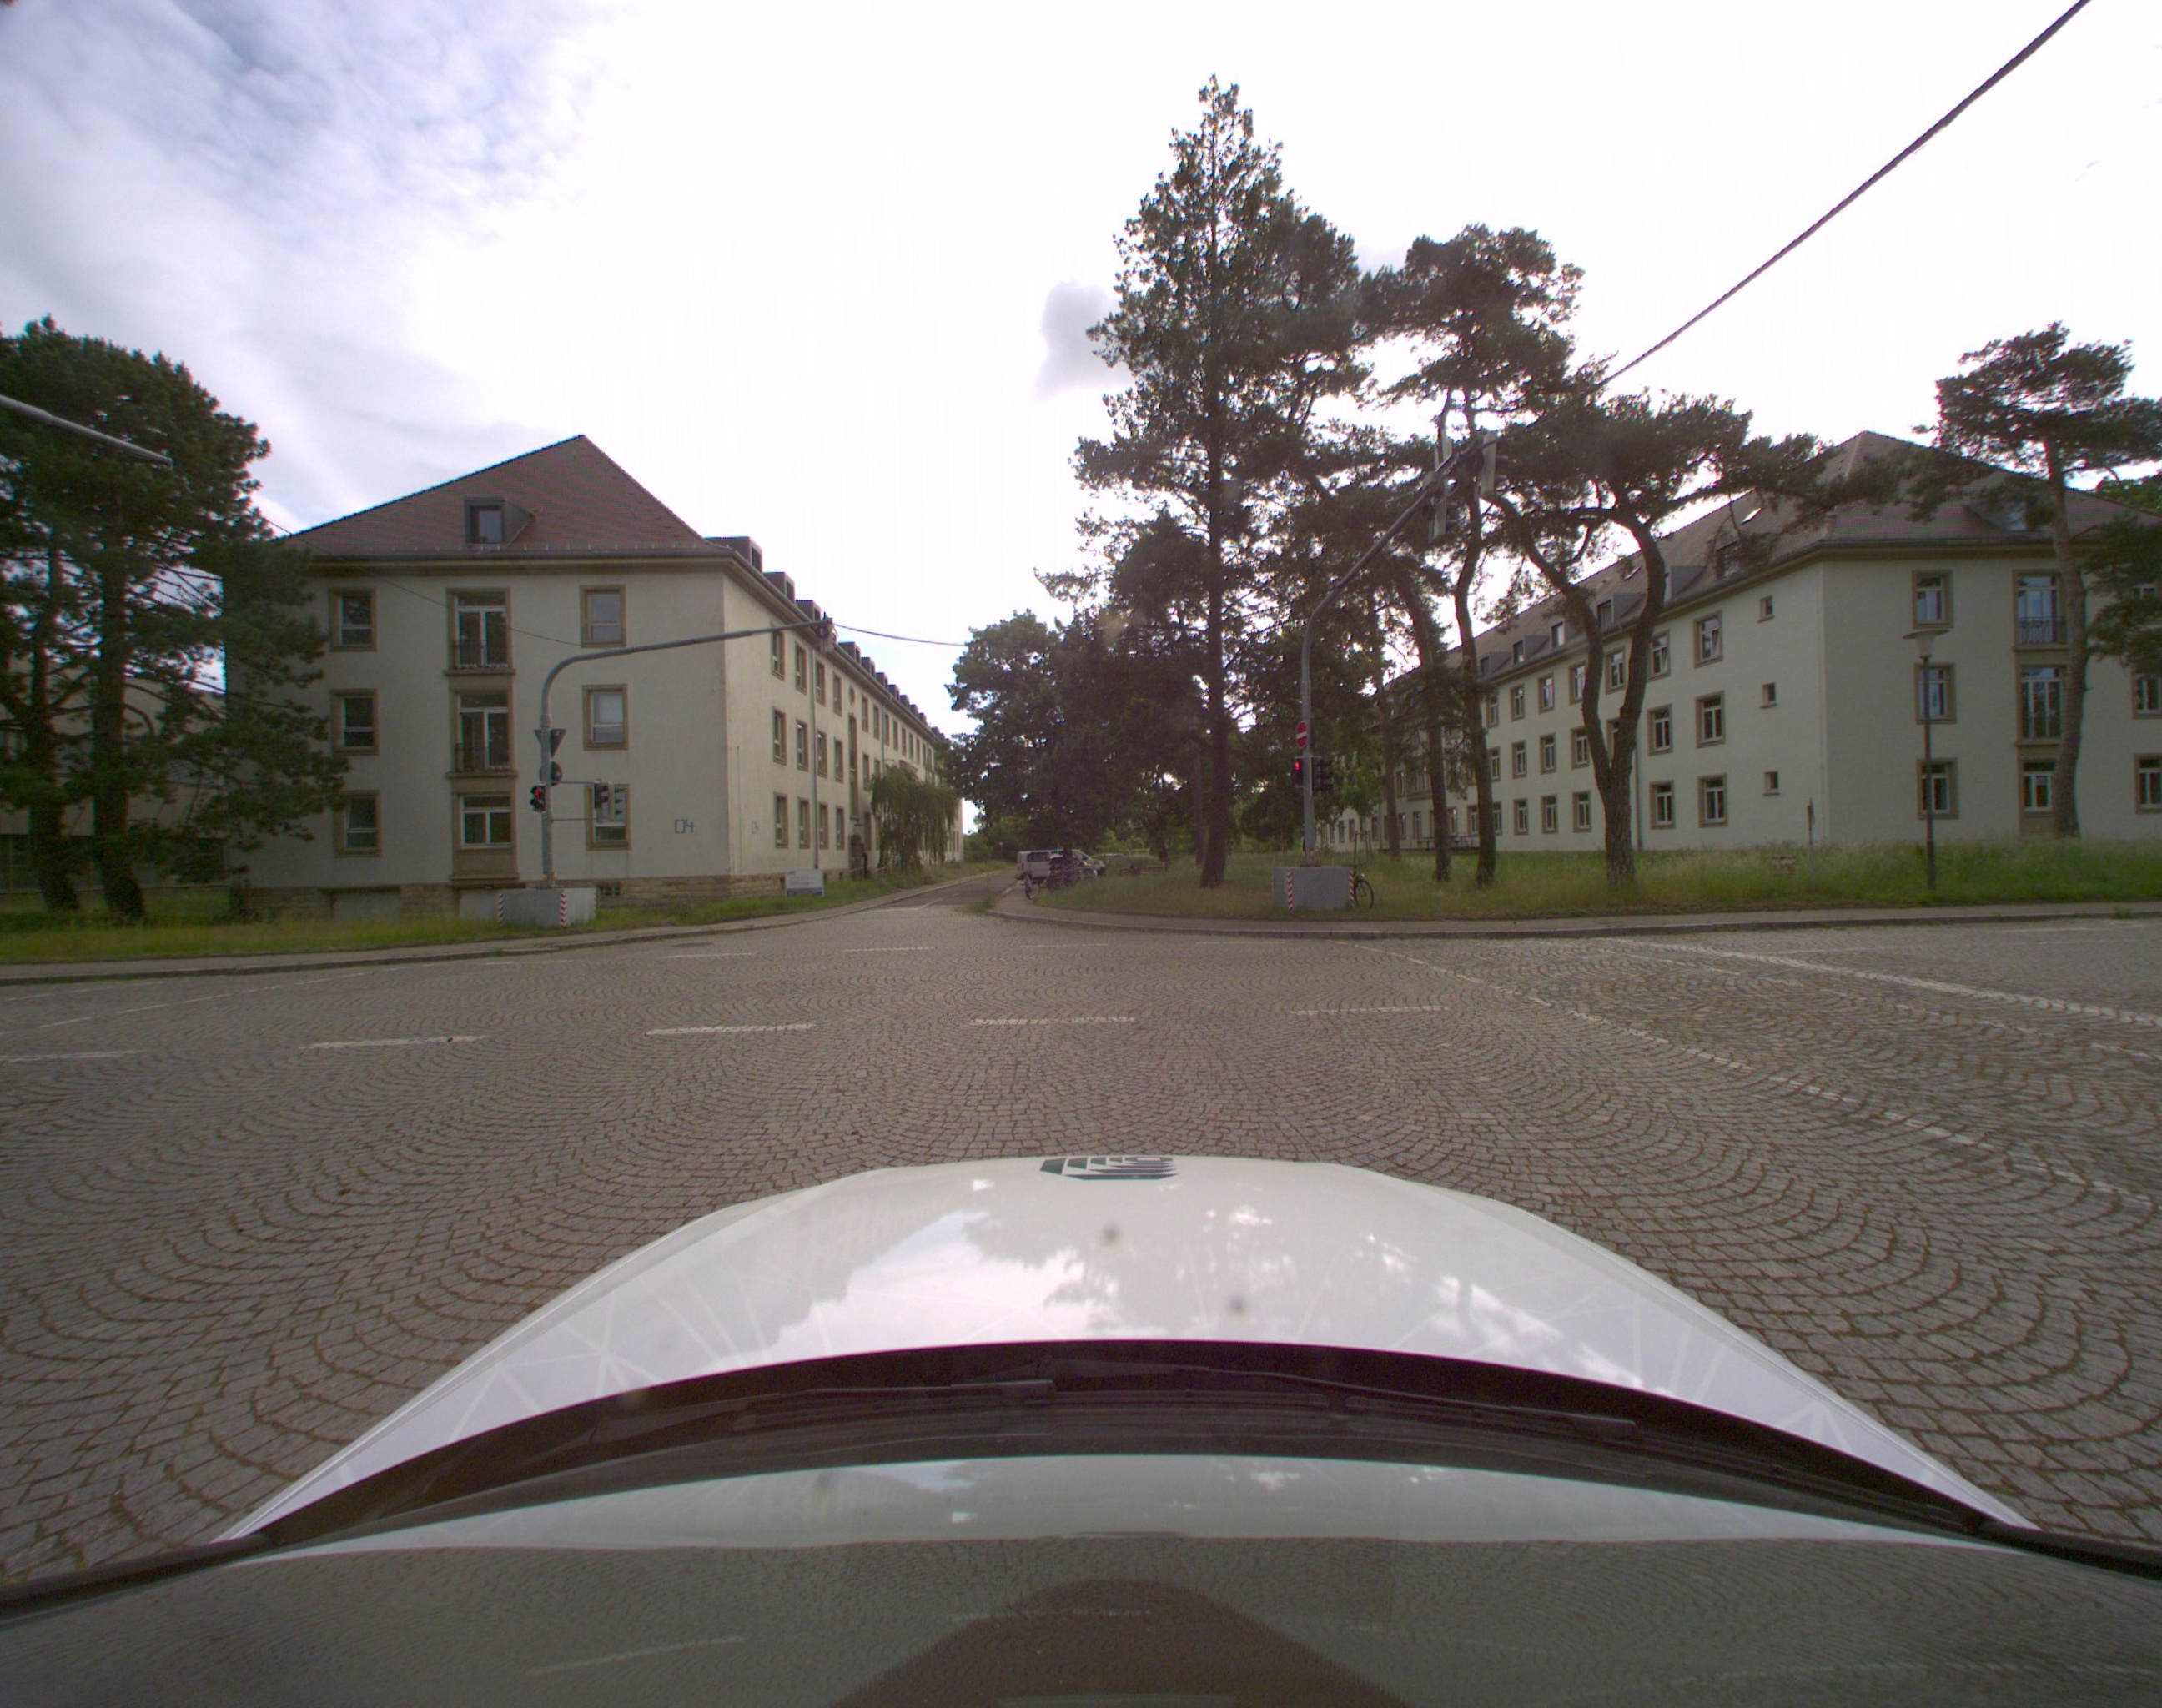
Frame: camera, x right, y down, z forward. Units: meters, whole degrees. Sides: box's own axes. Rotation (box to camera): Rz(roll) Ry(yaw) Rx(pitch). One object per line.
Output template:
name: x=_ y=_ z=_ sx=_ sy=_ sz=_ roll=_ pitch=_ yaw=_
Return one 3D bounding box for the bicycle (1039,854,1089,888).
bicycle: x=-0.706 y=0.698 z=34.725 sx=2.063 sy=1.378 sz=0.620 roll=-2 pitch=0 yaw=-1

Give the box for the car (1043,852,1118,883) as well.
car: x=-0.061 y=0.735 z=44.886 sx=3.927 sy=1.544 sz=1.996 roll=-2 pitch=0 yaw=-6

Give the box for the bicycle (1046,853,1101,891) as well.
bicycle: x=-0.279 y=0.674 z=31.032 sx=2.063 sy=1.378 sz=0.620 roll=-2 pitch=0 yaw=-1

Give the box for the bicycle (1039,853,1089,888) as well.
bicycle: x=-0.706 y=0.693 z=33.978 sx=2.063 sy=1.378 sz=0.620 roll=-2 pitch=0 yaw=-1

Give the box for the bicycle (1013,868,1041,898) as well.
bicycle: x=-1.873 y=0.989 z=28.520 sx=0.615 sy=0.963 sz=2.080 roll=-2 pitch=0 yaw=6

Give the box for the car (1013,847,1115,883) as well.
car: x=-1.018 y=0.613 z=48.230 sx=5.699 sy=1.910 sz=2.220 roll=-2 pitch=0 yaw=-14

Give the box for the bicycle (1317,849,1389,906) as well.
bicycle: x=6.068 y=0.504 z=18.266 sx=0.906 sy=1.177 sz=1.873 roll=-2 pitch=0 yaw=-2

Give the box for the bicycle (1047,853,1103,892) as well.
bicycle: x=-0.223 y=0.670 z=30.363 sx=2.063 sy=1.378 sz=0.620 roll=-2 pitch=0 yaw=-1

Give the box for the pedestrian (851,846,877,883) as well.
pedestrian: x=-12.101 y=0.572 z=45.503 sx=1.082 sy=2.013 sz=1.023 roll=-2 pitch=0 yaw=4

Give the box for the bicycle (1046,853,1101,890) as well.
bicycle: x=-0.294 y=0.679 z=31.656 sx=2.063 sy=1.378 sz=0.620 roll=-2 pitch=0 yaw=-1

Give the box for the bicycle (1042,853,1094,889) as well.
bicycle: x=-0.541 y=0.687 z=33.245 sx=2.063 sy=1.378 sz=0.620 roll=-2 pitch=0 yaw=-1

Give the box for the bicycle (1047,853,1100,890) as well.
bicycle: x=-0.301 y=0.684 z=32.453 sx=2.063 sy=1.378 sz=0.620 roll=-2 pitch=0 yaw=-1
